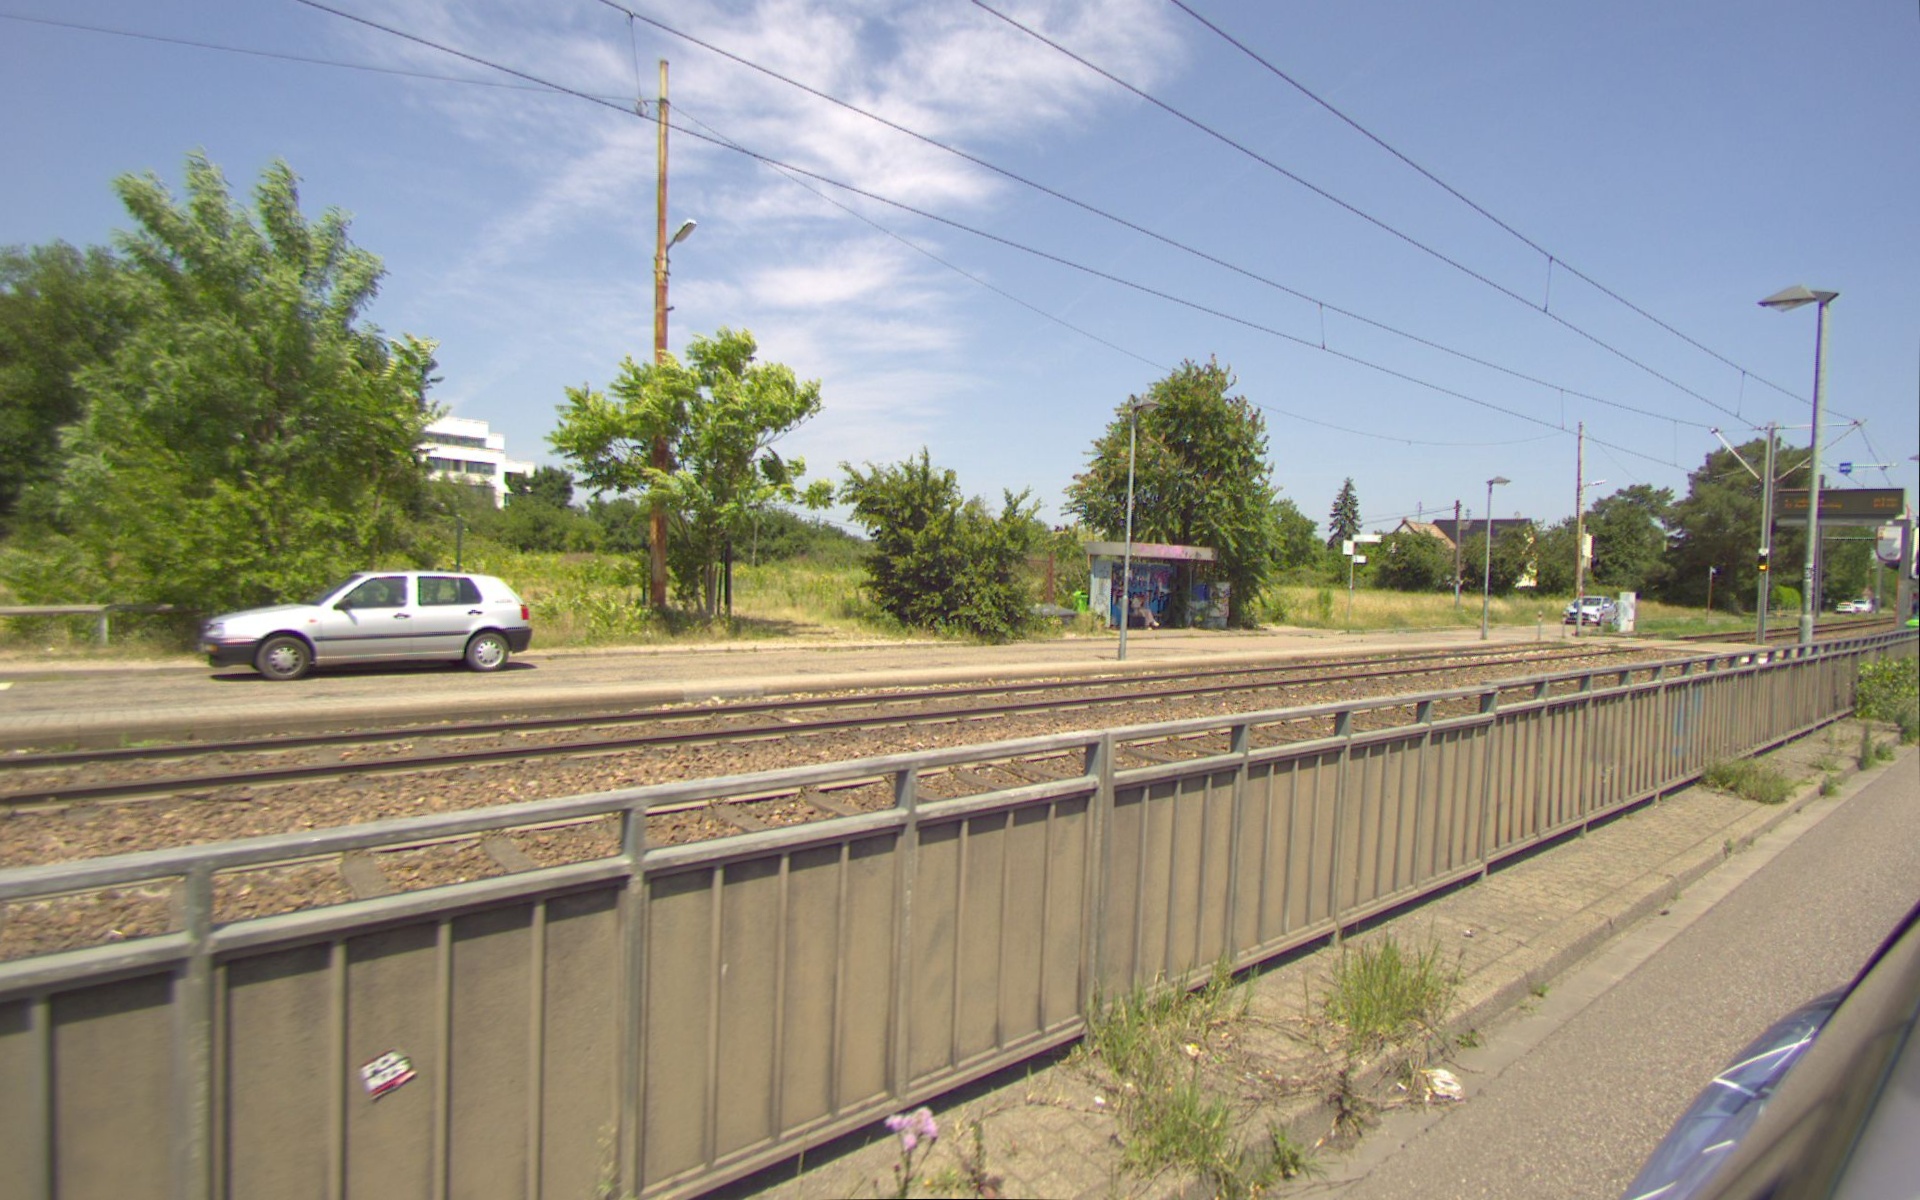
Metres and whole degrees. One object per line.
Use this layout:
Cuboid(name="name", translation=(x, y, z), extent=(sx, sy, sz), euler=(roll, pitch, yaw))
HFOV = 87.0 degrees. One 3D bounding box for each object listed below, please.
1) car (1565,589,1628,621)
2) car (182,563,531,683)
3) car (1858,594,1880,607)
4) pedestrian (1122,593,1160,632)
Cuboid(name="car", translation=(32.040, 0.234, 50.905), extent=(3.932, 1.507, 1.715), euler=(0, 1, -42))
Cuboid(name="car", translation=(-8.327, 0.249, 14.127), extent=(3.930, 1.440, 1.943), euler=(0, 1, -41))
Cuboid(name="car", translation=(127.120, 0.057, 141.522), extent=(4.510, 1.849, 1.860), euler=(0, 1, -43))
Cuboid(name="pedestrian", translation=(5.280, 0.360, 29.569), extent=(0.705, 1.100, 0.812), euler=(1, 1, -33))
